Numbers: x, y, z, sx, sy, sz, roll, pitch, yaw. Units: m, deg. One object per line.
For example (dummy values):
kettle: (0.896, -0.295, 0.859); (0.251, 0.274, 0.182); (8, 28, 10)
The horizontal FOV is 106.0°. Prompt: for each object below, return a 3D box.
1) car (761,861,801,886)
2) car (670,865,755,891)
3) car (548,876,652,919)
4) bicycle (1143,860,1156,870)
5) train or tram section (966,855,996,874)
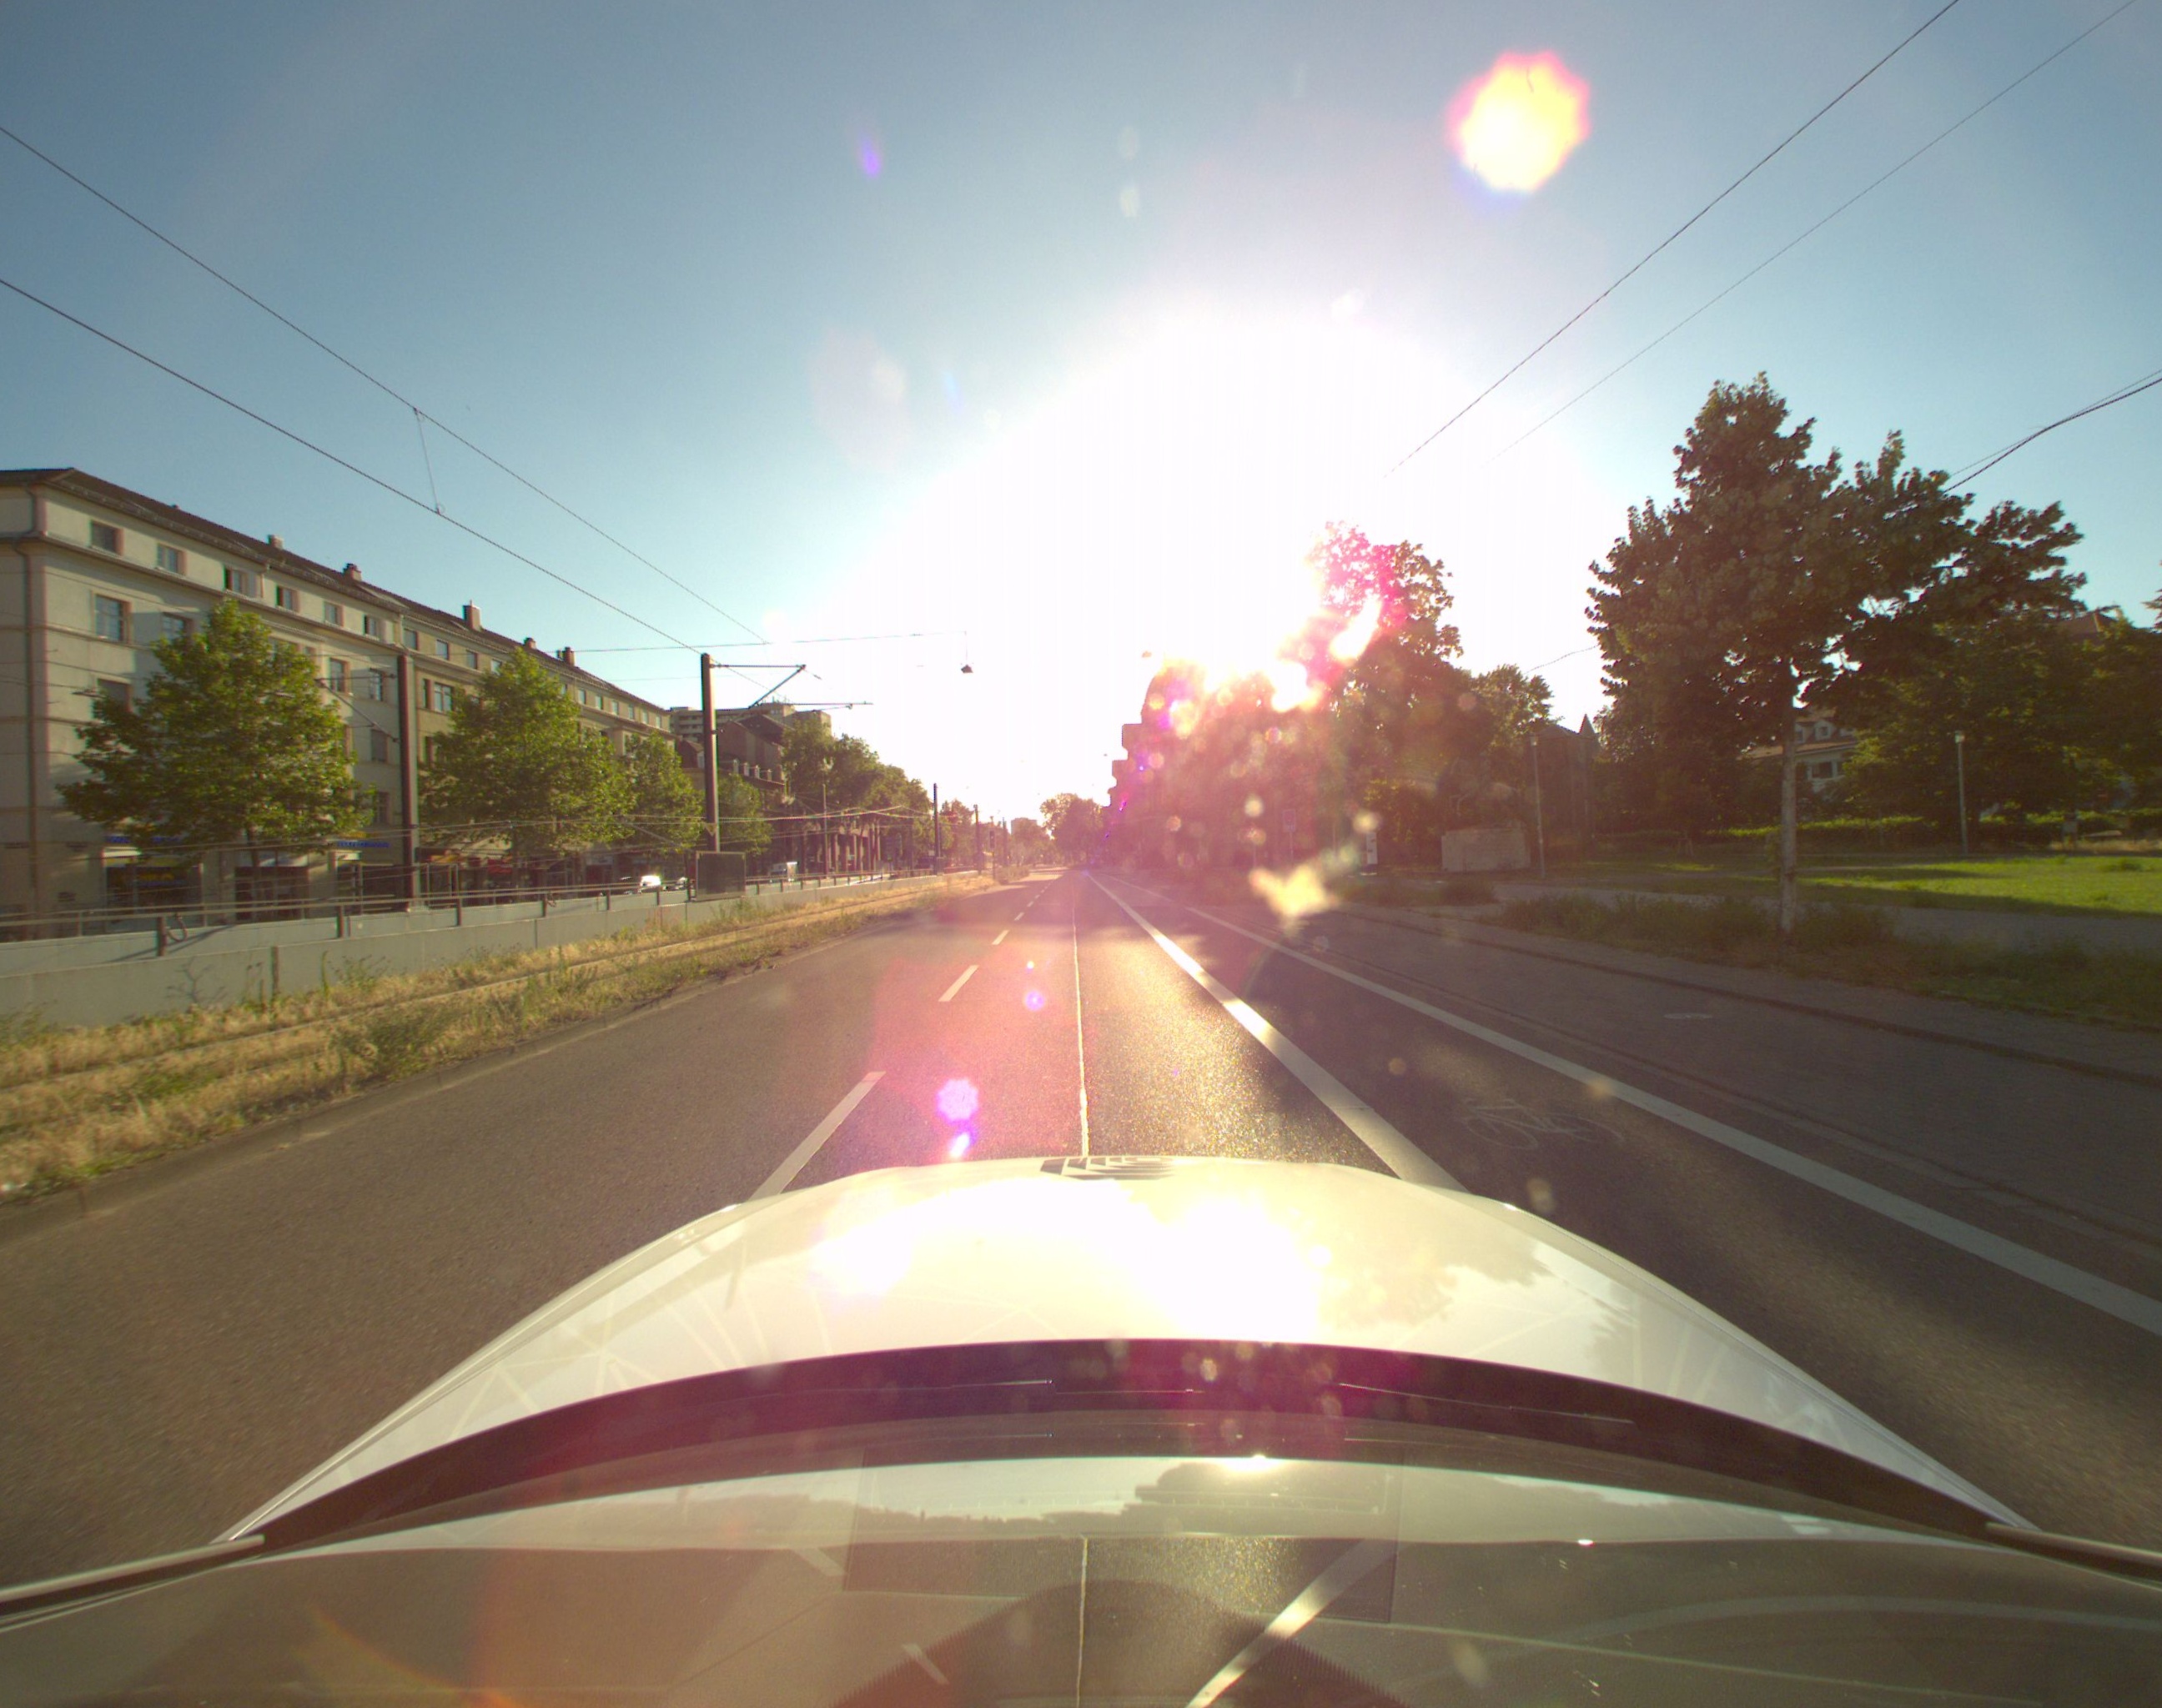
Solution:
car: (-28.243, 1.798, 76.836); (1.946, 2.134, 4.572); (-3, 0, 0)
car: (-36.824, 2.388, 81.535); (7.257, 2.266, 2.465); (-2, -1, -6)
car: (-23.721, 2.080, 40.442); (1.986, 1.819, 4.981); (-3, 0, 2)
bicycle: (8.153, 1.284, 96.749); (0.859, 1.196, 2.251); (-3, -1, 23)
train or tram section: (-19.575, 2.048, 160.621); (3.101, 3.559, 17.480); (-3, -1, 1)
